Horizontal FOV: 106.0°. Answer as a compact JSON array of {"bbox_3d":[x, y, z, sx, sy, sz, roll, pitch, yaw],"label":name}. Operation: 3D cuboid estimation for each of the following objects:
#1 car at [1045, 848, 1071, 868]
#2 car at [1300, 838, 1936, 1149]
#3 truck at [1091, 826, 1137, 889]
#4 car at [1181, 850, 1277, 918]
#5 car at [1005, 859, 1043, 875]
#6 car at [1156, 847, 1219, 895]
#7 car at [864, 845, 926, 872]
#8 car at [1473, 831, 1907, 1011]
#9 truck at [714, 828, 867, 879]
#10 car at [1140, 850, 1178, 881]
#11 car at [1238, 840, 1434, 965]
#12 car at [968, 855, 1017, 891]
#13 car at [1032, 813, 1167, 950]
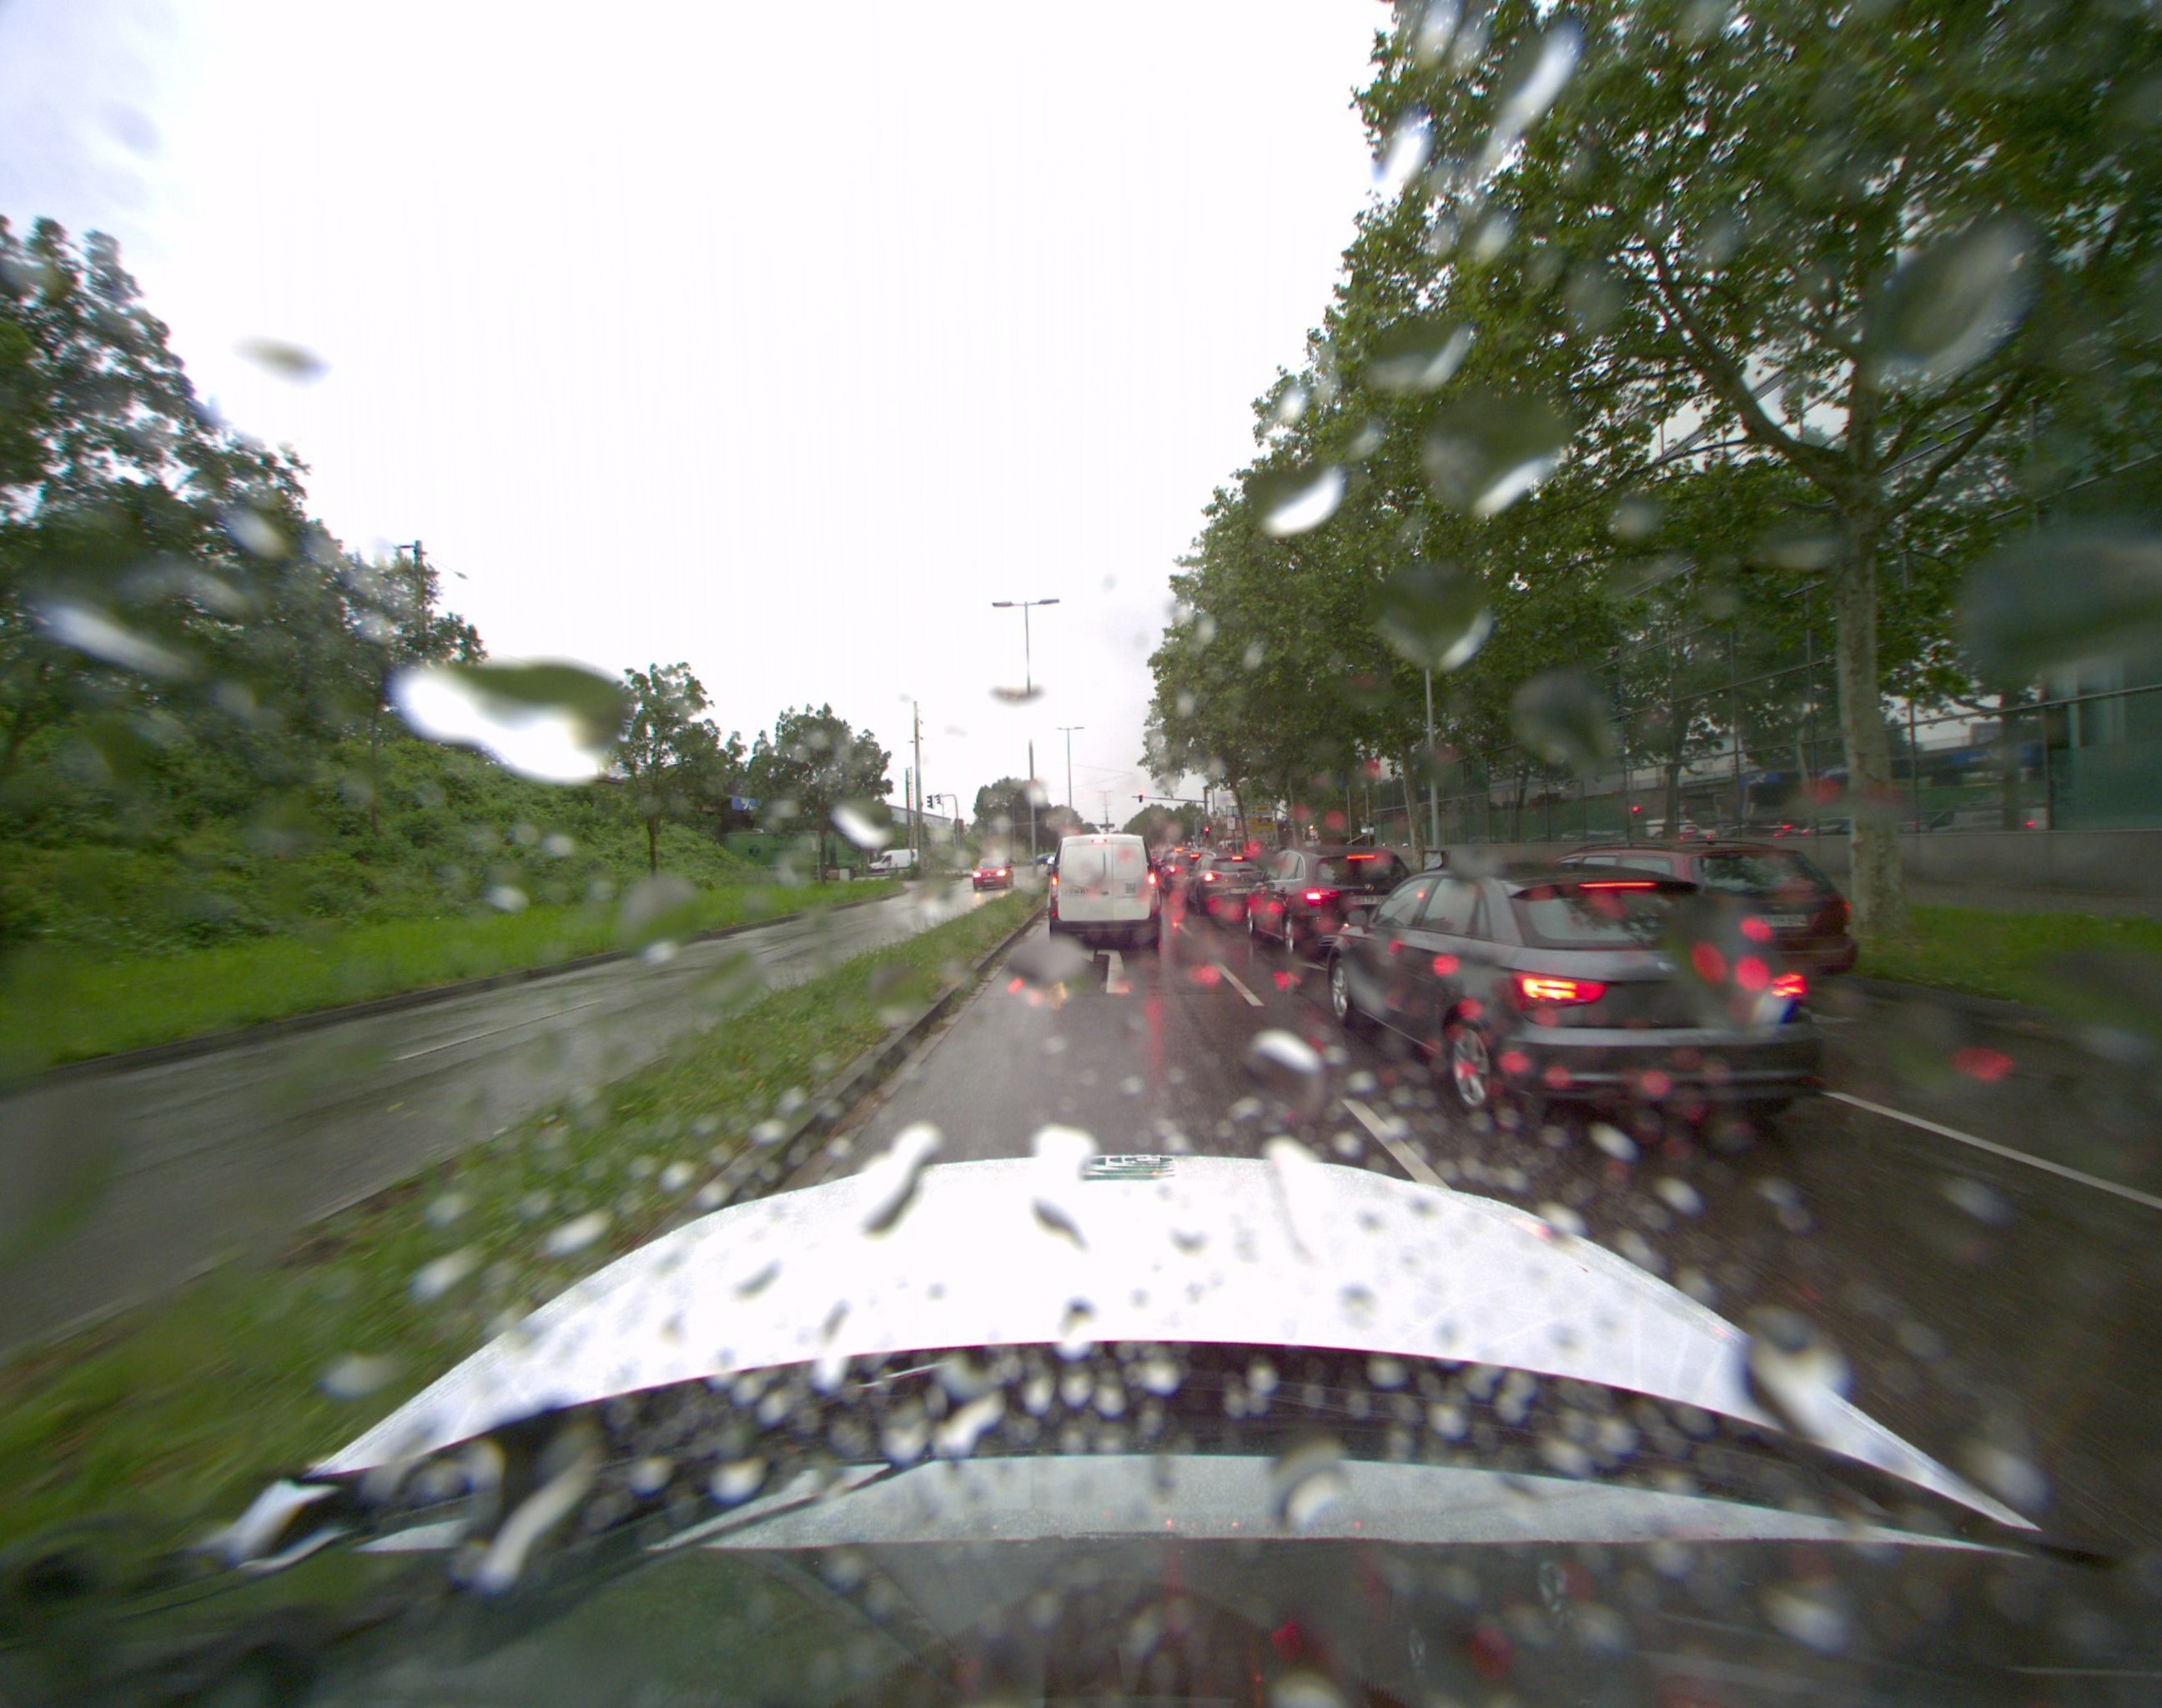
[{"bbox_3d":[-1.920,0.284,69.842,1.956,1.525,4.334,-3,1,0],"label":"car"},{"bbox_3d":[3.123,0.673,5.914,1.987,1.452,3.999,-1,0,0],"label":"car"},{"bbox_3d":[1.324,0.147,34.000,1.751,2.466,4.000,-1,0,0],"label":"truck"},{"bbox_3d":[3.494,0.649,19.891,1.705,1.445,4.002,-2,0,2],"label":"car"},{"bbox_3d":[-6.718,1.536,95.911,3.953,1.525,1.761,-4,1,-24],"label":"car"},{"bbox_3d":[3.535,0.512,27.571,1.705,1.445,4.002,-2,0,2],"label":"car"},{"bbox_3d":[-19.566,0.425,85.877,6.045,2.744,1.978,0,-2,-35],"label":"car"},{"bbox_3d":[6.295,0.592,9.148,1.833,1.537,4.112,-1,0,1],"label":"car"},{"bbox_3d":[-20.998,0.007,59.375,10.184,3.452,2.629,0,-2,-35],"label":"truck"},{"bbox_3d":[4.017,0.557,42.539,1.705,1.445,4.002,-2,0,2],"label":"car"},{"bbox_3d":[3.627,0.581,12.334,1.703,1.549,4.000,-2,1,0],"label":"car"},{"bbox_3d":[-4.220,0.864,39.306,1.709,1.513,3.616,-4,0,2],"label":"car"},{"bbox_3d":[0.298,0.454,14.252,1.987,2.014,3.999,-1,-1,0],"label":"car"}]
